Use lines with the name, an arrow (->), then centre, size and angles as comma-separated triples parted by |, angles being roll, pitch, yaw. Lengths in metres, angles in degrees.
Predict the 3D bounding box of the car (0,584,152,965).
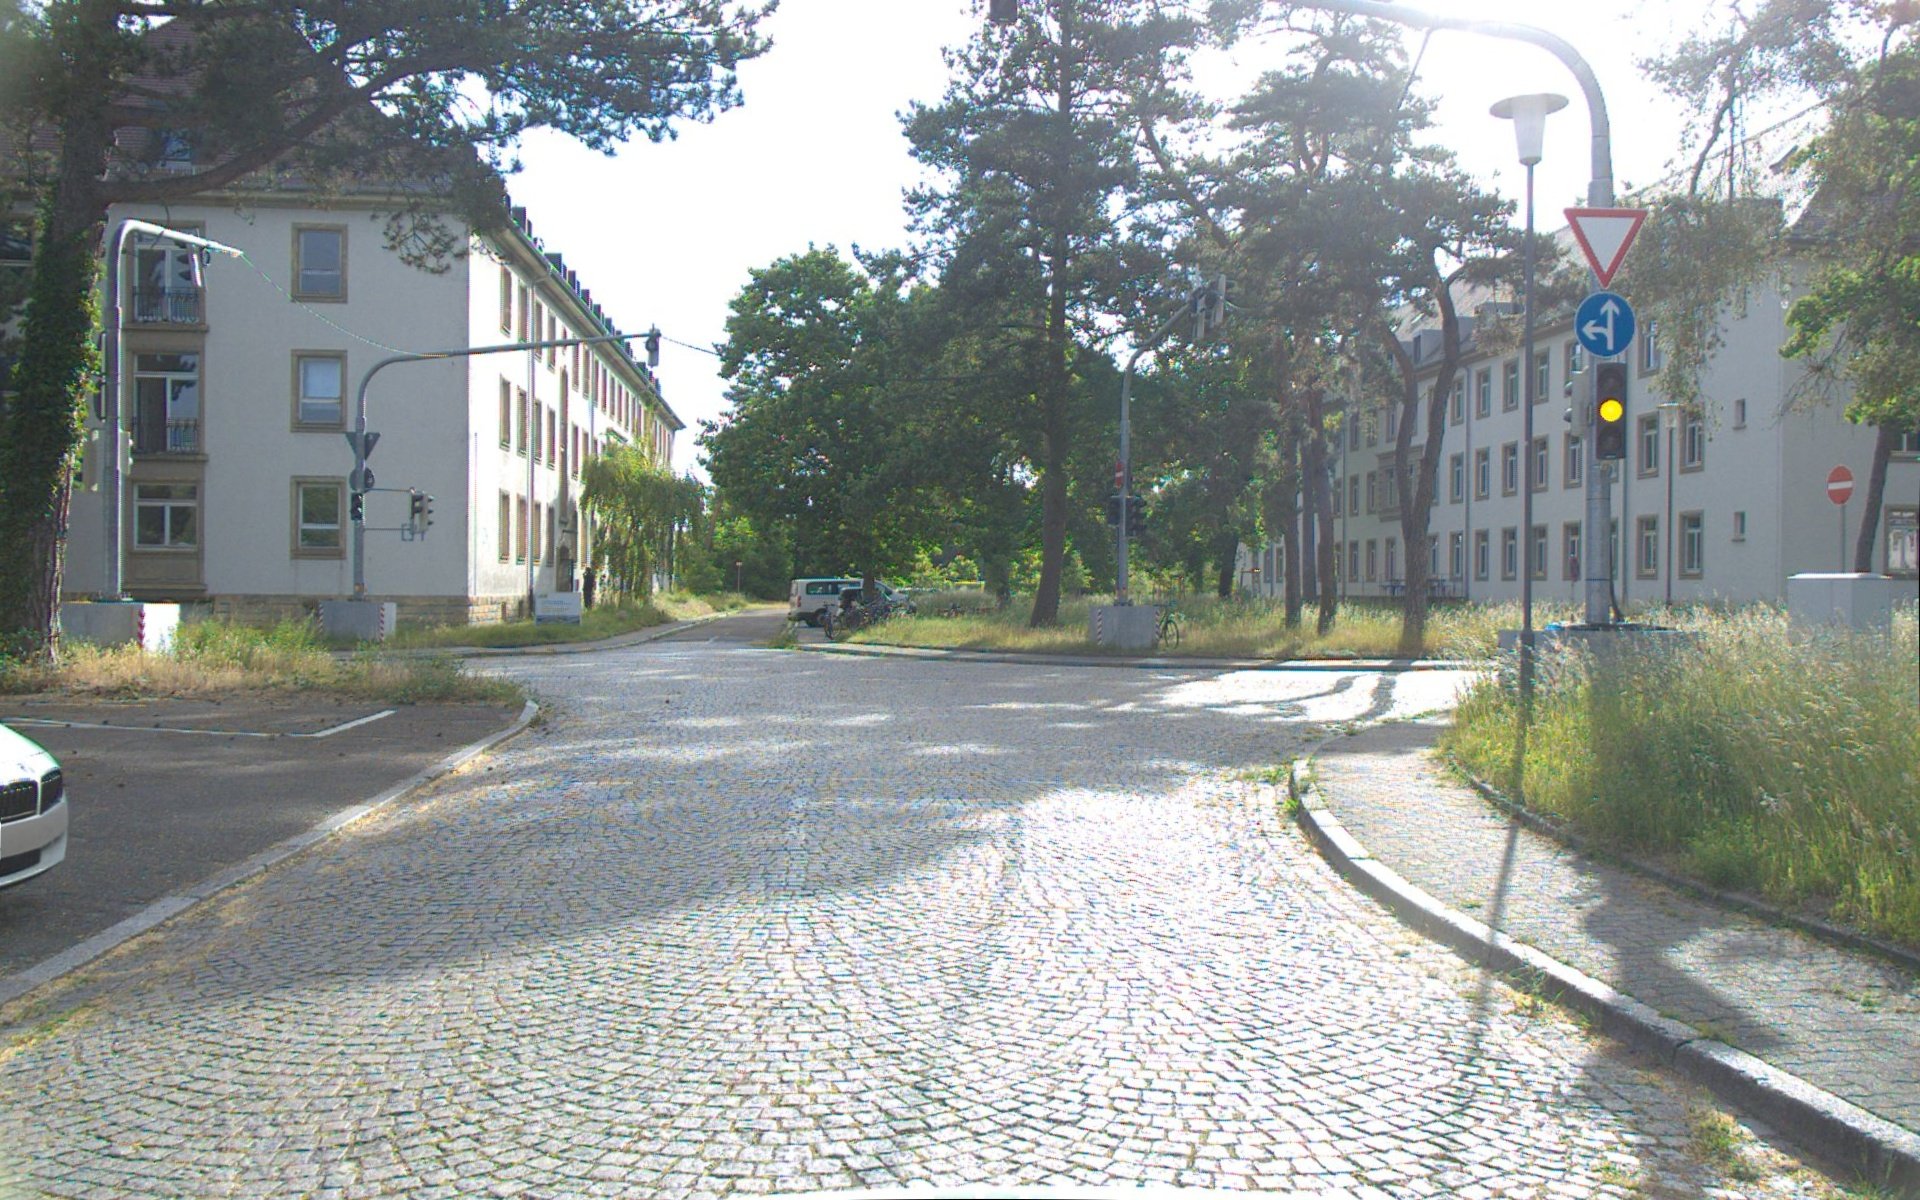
car -> -6.173, 0.602, 6.995 | 4.501, 1.480, 1.900 | 3, 1, -8

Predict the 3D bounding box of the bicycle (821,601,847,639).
bicycle -> -3.661, 0.562, 47.876 | 0.714, 1.016, 1.797 | 0, 1, -5

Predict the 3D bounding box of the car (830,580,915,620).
car -> -3.392, 0.028, 63.920 | 2.985, 1.491, 1.711 | 1, -1, -18

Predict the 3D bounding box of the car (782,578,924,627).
car -> -4.364, 0.108, 67.402 | 5.418, 1.949, 2.242 | 1, 0, -19

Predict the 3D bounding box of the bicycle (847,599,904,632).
bicycle -> -2.642, 0.486, 51.578 | 1.758, 1.016, 0.643 | 0, 1, -7

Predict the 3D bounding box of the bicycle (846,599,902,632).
bicycle -> -2.735, 0.487, 52.593 | 1.758, 1.016, 0.643 | 0, 1, -7

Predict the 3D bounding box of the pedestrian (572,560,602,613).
pedestrian -> -14.174, -0.494, 62.851 | 0.966, 1.998, 0.931 | 1, 0, -6

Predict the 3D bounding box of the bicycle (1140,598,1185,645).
bicycle -> 4.646, 0.476, 38.062 | 0.552, 1.016, 1.748 | 0, 1, -9
